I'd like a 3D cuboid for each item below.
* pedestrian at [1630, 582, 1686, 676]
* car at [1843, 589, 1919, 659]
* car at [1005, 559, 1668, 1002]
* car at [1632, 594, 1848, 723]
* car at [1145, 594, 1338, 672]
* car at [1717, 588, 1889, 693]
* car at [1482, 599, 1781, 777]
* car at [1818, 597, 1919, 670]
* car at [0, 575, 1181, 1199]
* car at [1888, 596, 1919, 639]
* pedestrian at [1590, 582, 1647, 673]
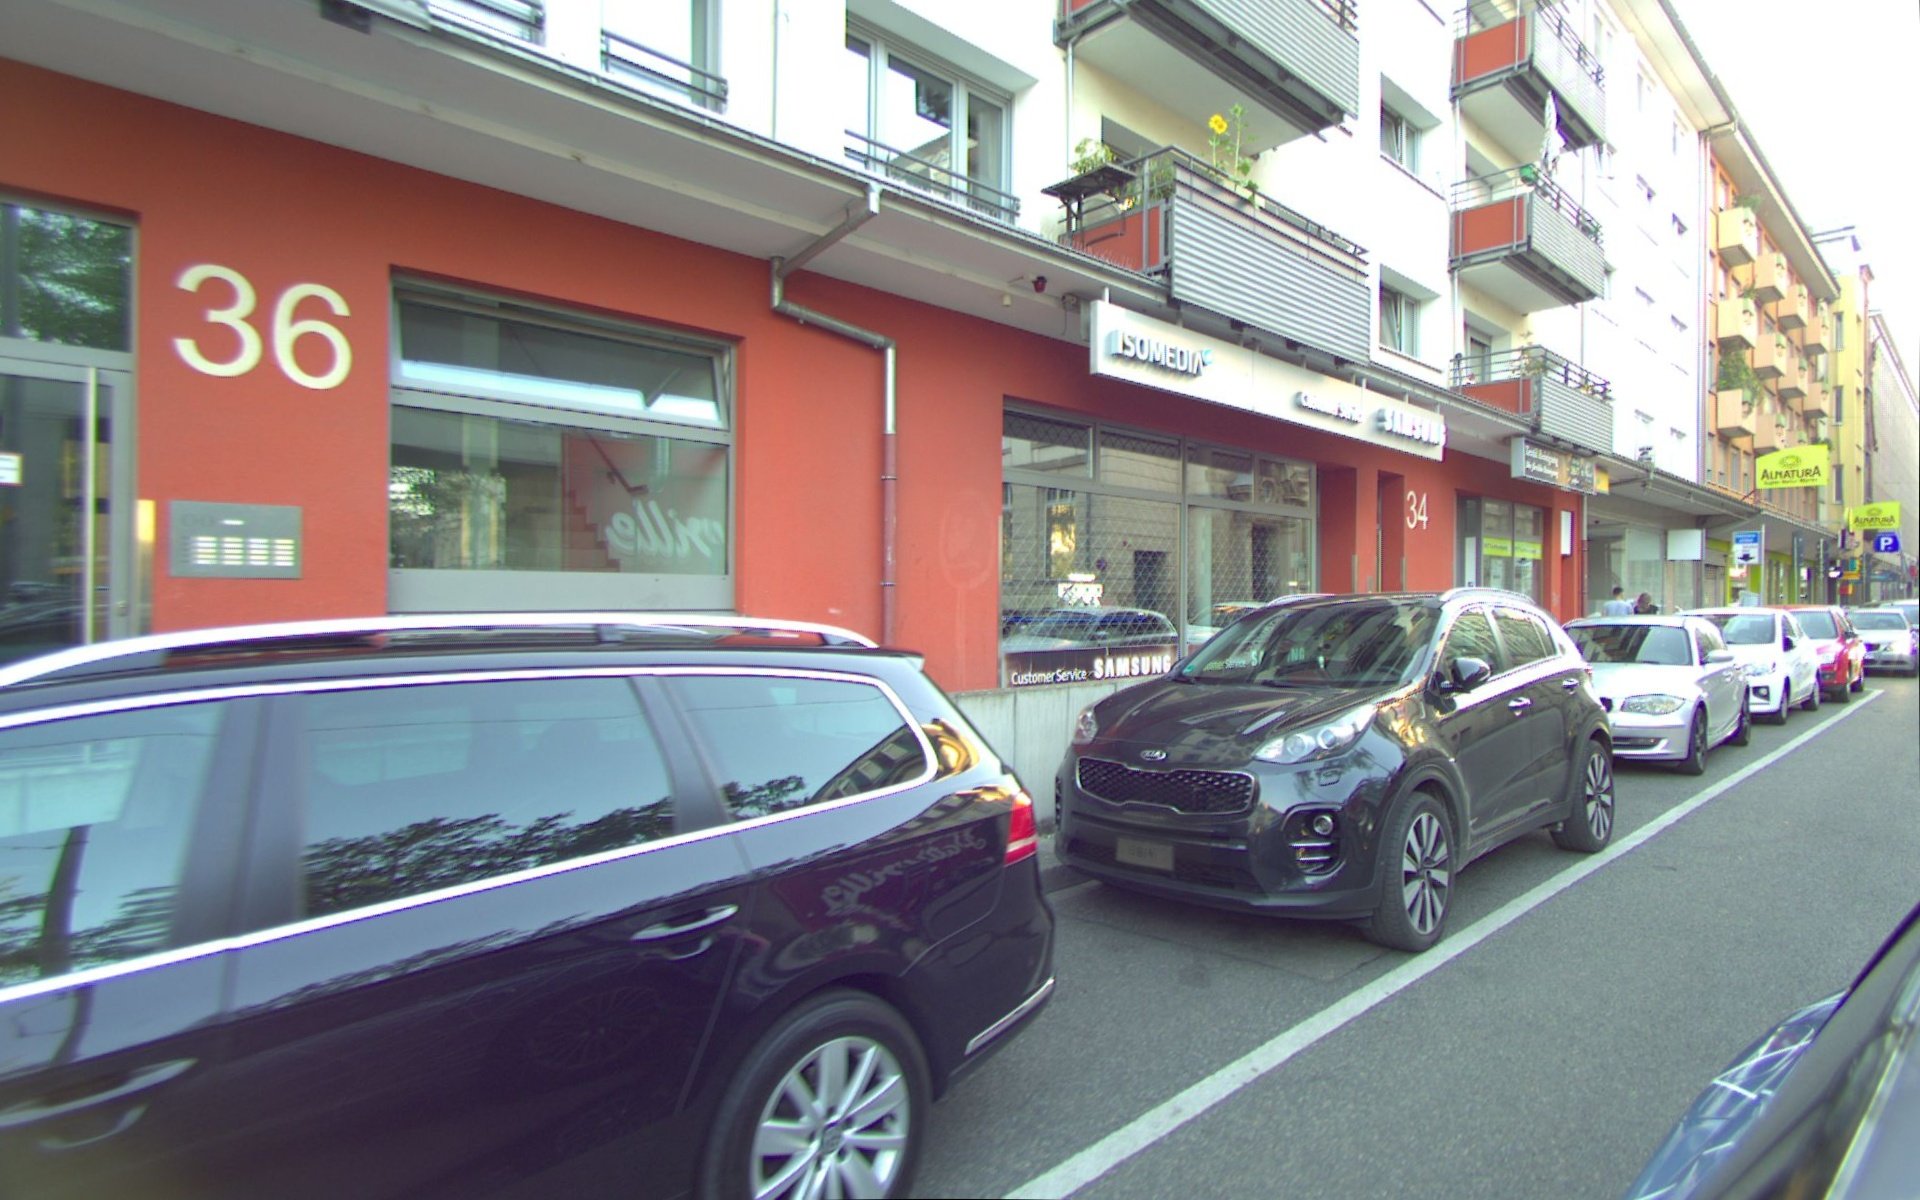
[{"bbox_3d":[12.993,0.516,18.838,0.643,1.681,0.649,0,2,-40],"label":"pedestrian"},{"bbox_3d":[24.040,0.592,25.542,4.404,1.631,1.798,0,-2,-38],"label":"car"},{"bbox_3d":[2.562,0.721,6.079,4.709,1.663,1.766,1,-3,-43],"label":"car"},{"bbox_3d":[10.892,0.737,14.038,3.978,1.532,1.608,1,-3,-42],"label":"car"},{"bbox_3d":[5.555,0.594,19.747,3.929,1.353,1.743,1,0,-41],"label":"car"},{"bbox_3d":[14.230,0.643,16.991,4.575,1.532,1.713,1,-3,-44],"label":"car"},{"bbox_3d":[7.155,0.777,10.582,4.385,1.471,1.699,1,-3,-45],"label":"car"},{"bbox_3d":[20.112,0.704,22.006,4.604,1.433,1.737,1,-3,-44],"label":"car"},{"bbox_3d":[-1.675,0.759,2.129,4.708,1.522,1.767,1,-3,-42],"label":"car"},{"bbox_3d":[33.948,0.594,35.425,4.674,1.433,1.693,1,-3,-42],"label":"car"},{"bbox_3d":[12.595,0.506,19.350,0.780,1.681,0.649,0,3,-41],"label":"pedestrian"}]
